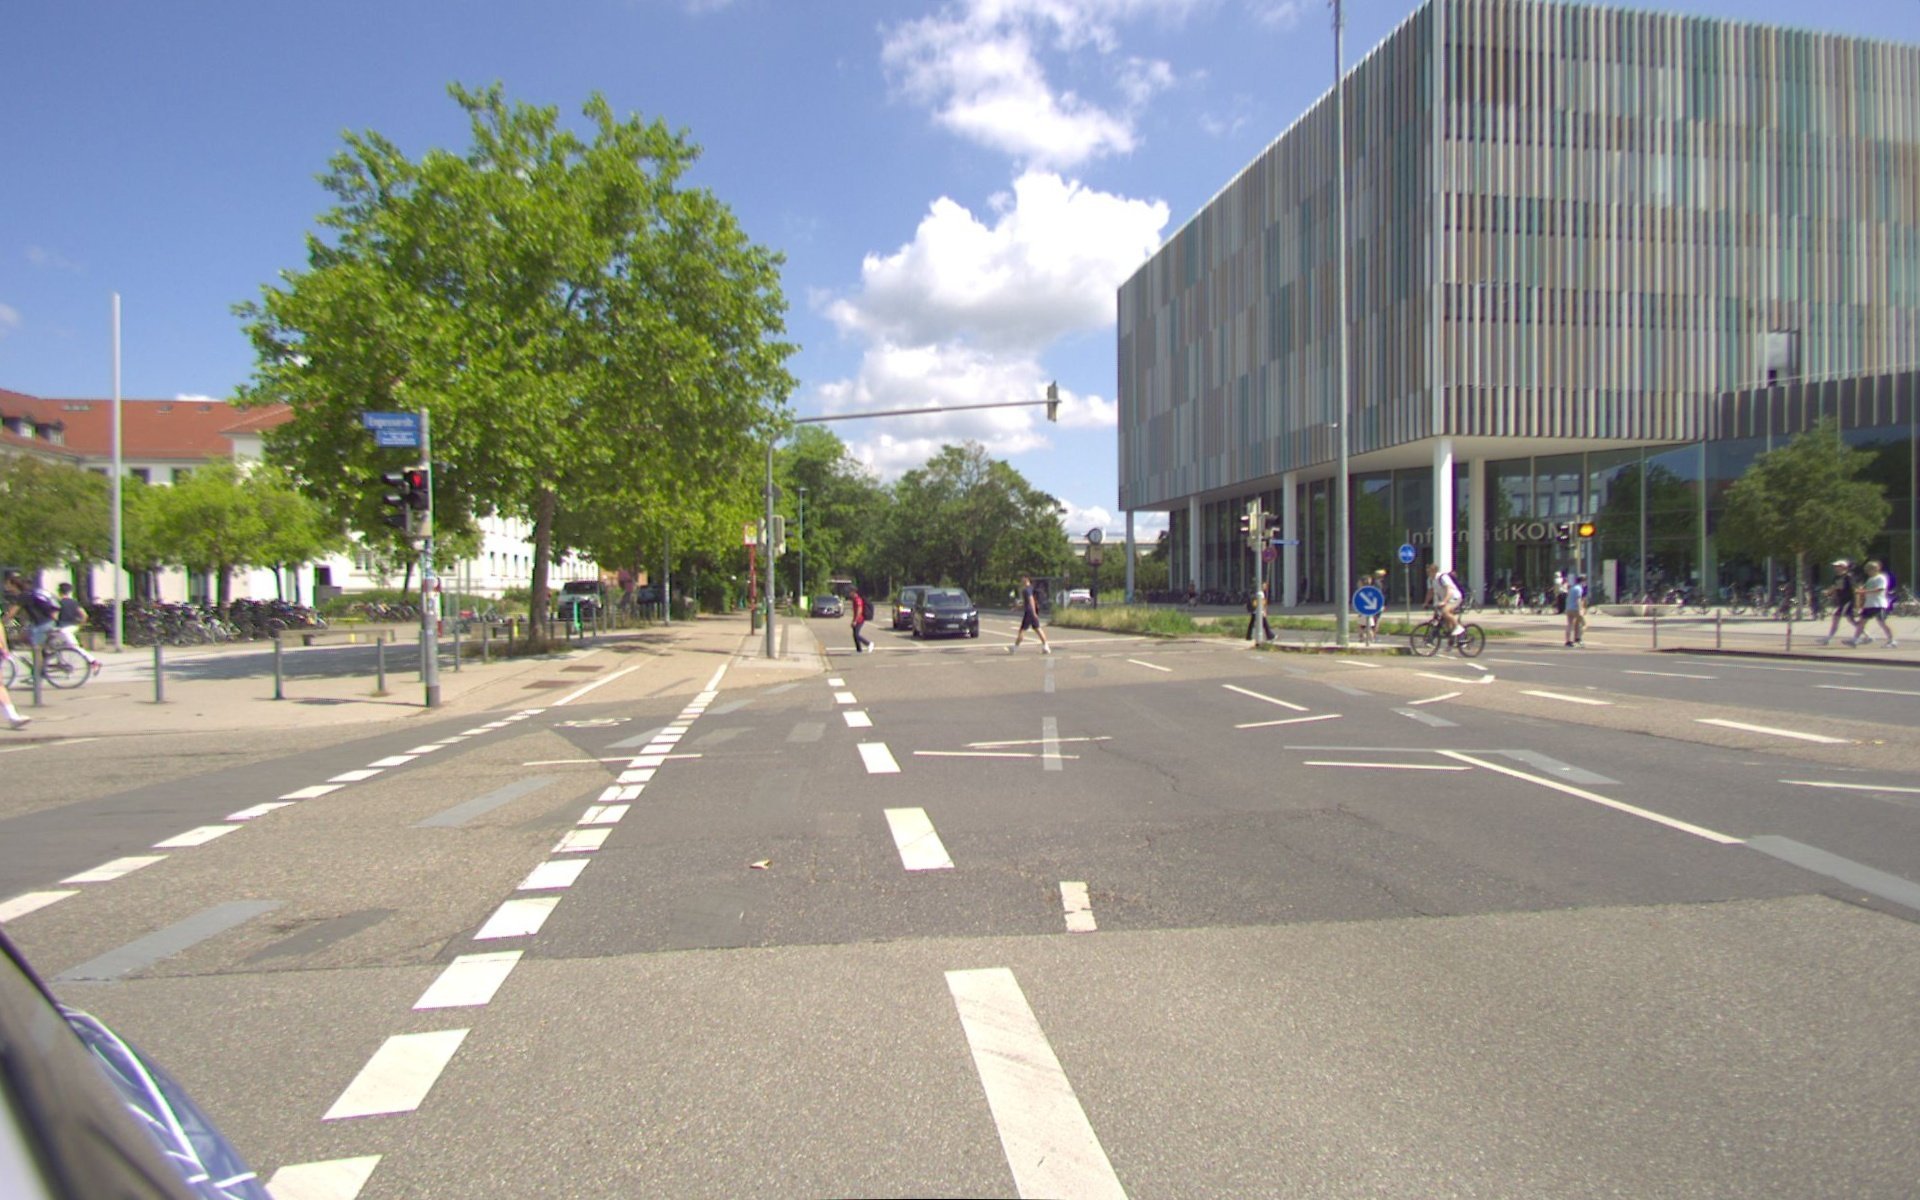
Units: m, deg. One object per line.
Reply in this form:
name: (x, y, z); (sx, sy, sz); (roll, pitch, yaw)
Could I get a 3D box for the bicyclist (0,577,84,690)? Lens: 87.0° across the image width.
bicyclist: (-15.640, 0.550, 17.079); (1.070, 1.868, 0.686); (-1, 1, -8)

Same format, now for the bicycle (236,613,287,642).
bicycle: (-23.335, 0.916, 33.822); (1.349, 0.958, 0.353); (-1, 0, -12)

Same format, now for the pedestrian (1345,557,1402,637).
pedestrian: (10.299, -0.081, 25.230); (0.864, 1.940, 0.975); (-1, 0, -14)

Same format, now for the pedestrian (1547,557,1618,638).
pedestrian: (15.361, -0.065, 24.986); (1.093, 1.940, 0.972); (-1, 0, -2)

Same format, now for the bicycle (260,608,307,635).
bicycle: (-24.222, 0.768, 36.241); (1.349, 0.958, 0.353); (-1, 0, -12)

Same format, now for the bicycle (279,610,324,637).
bicycle: (-24.340, 0.870, 37.397); (1.349, 0.958, 0.353); (-1, 0, -12)

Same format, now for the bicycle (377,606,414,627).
bicycle: (-25.735, 0.743, 46.137); (1.405, 0.958, 0.353); (-1, 0, -12)

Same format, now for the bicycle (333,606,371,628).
bicycle: (-27.724, 0.771, 46.160); (1.405, 0.958, 0.353); (-1, 0, -12)

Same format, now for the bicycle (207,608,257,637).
bicycle: (-25.589, 0.783, 35.581); (1.389, 0.958, 0.353); (-1, 0, -12)

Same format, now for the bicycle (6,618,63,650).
bicycle: (-28.409, 1.034, 31.070); (1.351, 0.958, 0.352); (-1, 0, -3)

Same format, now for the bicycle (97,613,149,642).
bicycle: (-29.086, 0.960, 35.176); (1.348, 0.958, 0.353); (-1, 0, -15)

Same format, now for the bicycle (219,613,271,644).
bicycle: (-23.393, 0.929, 33.103); (1.349, 0.958, 0.353); (-1, 0, -12)

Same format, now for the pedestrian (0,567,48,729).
pedestrian: (-11.639, 0.562, 11.963); (0.864, 1.886, 0.974); (-1, 0, -11)

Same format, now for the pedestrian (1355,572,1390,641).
pedestrian: (9.237, 0.148, 22.638); (0.581, 1.515, 0.418); (-1, 0, -25)

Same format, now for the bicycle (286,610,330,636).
bicycle: (-24.395, 0.863, 37.891); (1.349, 0.958, 0.353); (-1, 0, -12)

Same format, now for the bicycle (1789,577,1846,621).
bicycle: (32.016, -0.051, 37.837); (0.996, 1.563, 3.380); (-1, 0, 30)

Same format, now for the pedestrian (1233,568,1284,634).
pedestrian: (7.693, 0.026, 26.110); (0.864, 1.641, 0.975); (-1, 0, -14)

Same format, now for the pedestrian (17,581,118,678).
pedestrian: (-17.999, 0.590, 20.440); (1.301, 1.862, 0.702); (-2, 0, -9)

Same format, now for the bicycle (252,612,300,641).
bicycle: (-24.070, 0.930, 35.604); (1.349, 0.958, 0.353); (-1, 0, -12)

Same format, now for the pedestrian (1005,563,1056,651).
pedestrian: (1.611, 0.146, 23.009); (1.021, 1.940, 0.969); (-1, 0, 11)

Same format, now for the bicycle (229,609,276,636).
bicycle: (-26.087, 0.842, 37.315); (1.389, 0.958, 0.353); (-1, 0, -12)

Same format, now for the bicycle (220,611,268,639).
bicycle: (-25.980, 0.906, 36.708); (1.389, 0.958, 0.353); (-1, 0, -12)

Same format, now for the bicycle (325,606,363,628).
bicycle: (-27.697, 0.782, 45.489); (1.405, 0.958, 0.353); (-1, 0, -12)

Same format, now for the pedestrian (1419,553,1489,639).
pedestrian: (11.573, -0.095, 23.740); (1.093, 1.940, 0.972); (-1, 0, -3)

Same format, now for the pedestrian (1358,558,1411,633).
pedestrian: (11.278, -0.126, 26.892); (0.864, 1.940, 0.974); (-1, 0, -14)

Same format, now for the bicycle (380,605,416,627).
bicycle: (-25.873, 0.737, 46.634); (1.405, 0.958, 0.353); (-1, 0, -12)

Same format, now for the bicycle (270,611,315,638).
bicycle: (-24.329, 0.879, 36.893); (1.349, 0.958, 0.353); (-1, 0, -12)

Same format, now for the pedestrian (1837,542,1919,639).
pedestrian: (19.139, -0.191, 20.999); (1.100, 1.940, 0.966); (-1, 0, 19)

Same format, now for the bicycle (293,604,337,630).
bicycle: (-24.545, 0.637, 38.513); (1.349, 0.958, 0.353); (-1, 0, -12)

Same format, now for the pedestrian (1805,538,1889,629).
pedestrian: (19.483, -0.347, 22.255); (1.102, 1.940, 0.965); (-1, 0, 22)

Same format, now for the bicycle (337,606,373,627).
bicycle: (-27.830, 0.765, 46.562); (1.405, 0.958, 0.353); (-1, 0, -12)

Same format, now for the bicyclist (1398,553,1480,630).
bicyclist: (9.346, -0.171, 19.769); (1.060, 1.455, 0.974); (-1, 0, -8)

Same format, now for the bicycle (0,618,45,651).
bicycle: (-28.532, 1.044, 30.617); (1.351, 0.958, 0.352); (-1, 0, -3)

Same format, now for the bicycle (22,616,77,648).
bicycle: (-28.454, 0.993, 31.630); (1.351, 0.958, 0.352); (-1, 0, -3)

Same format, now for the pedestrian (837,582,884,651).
pedestrian: (-2.415, 0.377, 24.455); (1.046, 1.609, 0.974); (-1, 0, -9)

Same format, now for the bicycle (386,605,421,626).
bicycle: (-25.951, 0.728, 47.212); (1.405, 0.958, 0.353); (-1, 0, -12)
